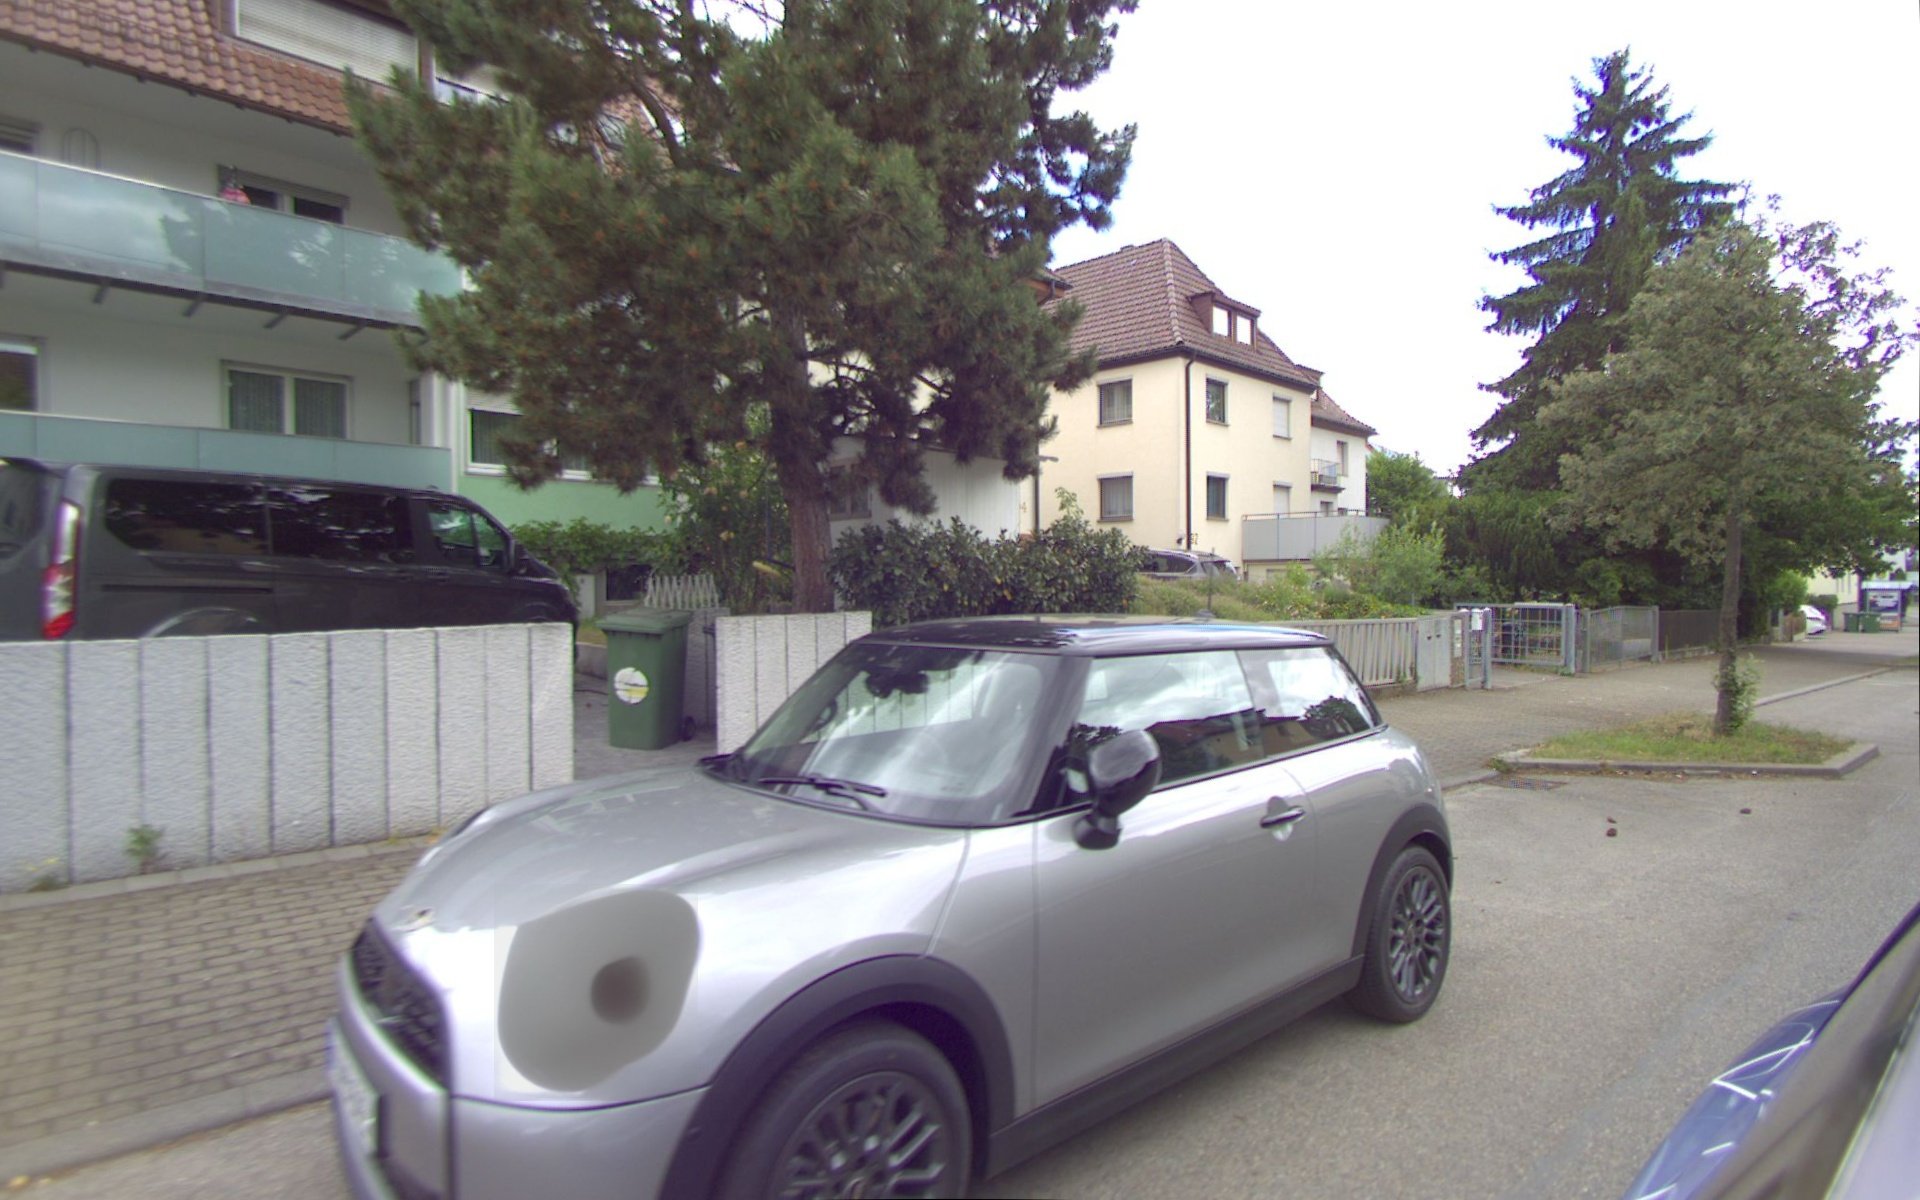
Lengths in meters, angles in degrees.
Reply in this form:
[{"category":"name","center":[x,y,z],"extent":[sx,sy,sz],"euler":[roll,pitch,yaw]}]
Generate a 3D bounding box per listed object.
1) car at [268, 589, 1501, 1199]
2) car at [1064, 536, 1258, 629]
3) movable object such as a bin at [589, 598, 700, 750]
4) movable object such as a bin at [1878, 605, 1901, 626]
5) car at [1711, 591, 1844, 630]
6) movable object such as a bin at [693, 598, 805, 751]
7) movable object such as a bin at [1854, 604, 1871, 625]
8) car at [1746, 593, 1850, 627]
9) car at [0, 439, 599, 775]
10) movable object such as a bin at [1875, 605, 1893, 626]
[{"category":"car","center":[0.146,0.706,3.408],"extent":[3.931,1.399,1.653],"euler":[-2,1,-41]},{"category":"car","center":[4.568,-0.500,23.377],"extent":[1.855,1.722,3.994],"euler":[-3,8,-44]},{"category":"movable object such as a bin","center":[-2.476,0.558,7.974],"extent":[0.586,1.069,0.612],"euler":[4,5,15]},{"category":"movable object such as a bin","center":[48.455,0.796,52.748],"extent":[0.579,1.060,0.639],"euler":[-2,0,-17]},{"category":"car","center":[37.017,0.440,45.901],"extent":[1.833,1.506,4.427],"euler":[-2,3,-42]},{"category":"movable object such as a bin","center":[-1.651,0.556,7.947],"extent":[0.589,1.069,0.609],"euler":[5,5,28]},{"category":"movable object such as a bin","center":[47.145,0.767,52.892],"extent":[0.635,1.059,0.577],"euler":[0,1,41]},{"category":"car","center":[41.265,0.466,49.882],"extent":[3.803,1.418,1.615],"euler":[3,4,44]},{"category":"car","center":[-5.523,-0.144,8.670],"extent":[1.956,2.037,4.691],"euler":[4,5,22]},{"category":"movable object such as a bin","center":[47.793,0.800,52.336],"extent":[0.635,1.060,0.577],"euler":[-2,0,41]}]
